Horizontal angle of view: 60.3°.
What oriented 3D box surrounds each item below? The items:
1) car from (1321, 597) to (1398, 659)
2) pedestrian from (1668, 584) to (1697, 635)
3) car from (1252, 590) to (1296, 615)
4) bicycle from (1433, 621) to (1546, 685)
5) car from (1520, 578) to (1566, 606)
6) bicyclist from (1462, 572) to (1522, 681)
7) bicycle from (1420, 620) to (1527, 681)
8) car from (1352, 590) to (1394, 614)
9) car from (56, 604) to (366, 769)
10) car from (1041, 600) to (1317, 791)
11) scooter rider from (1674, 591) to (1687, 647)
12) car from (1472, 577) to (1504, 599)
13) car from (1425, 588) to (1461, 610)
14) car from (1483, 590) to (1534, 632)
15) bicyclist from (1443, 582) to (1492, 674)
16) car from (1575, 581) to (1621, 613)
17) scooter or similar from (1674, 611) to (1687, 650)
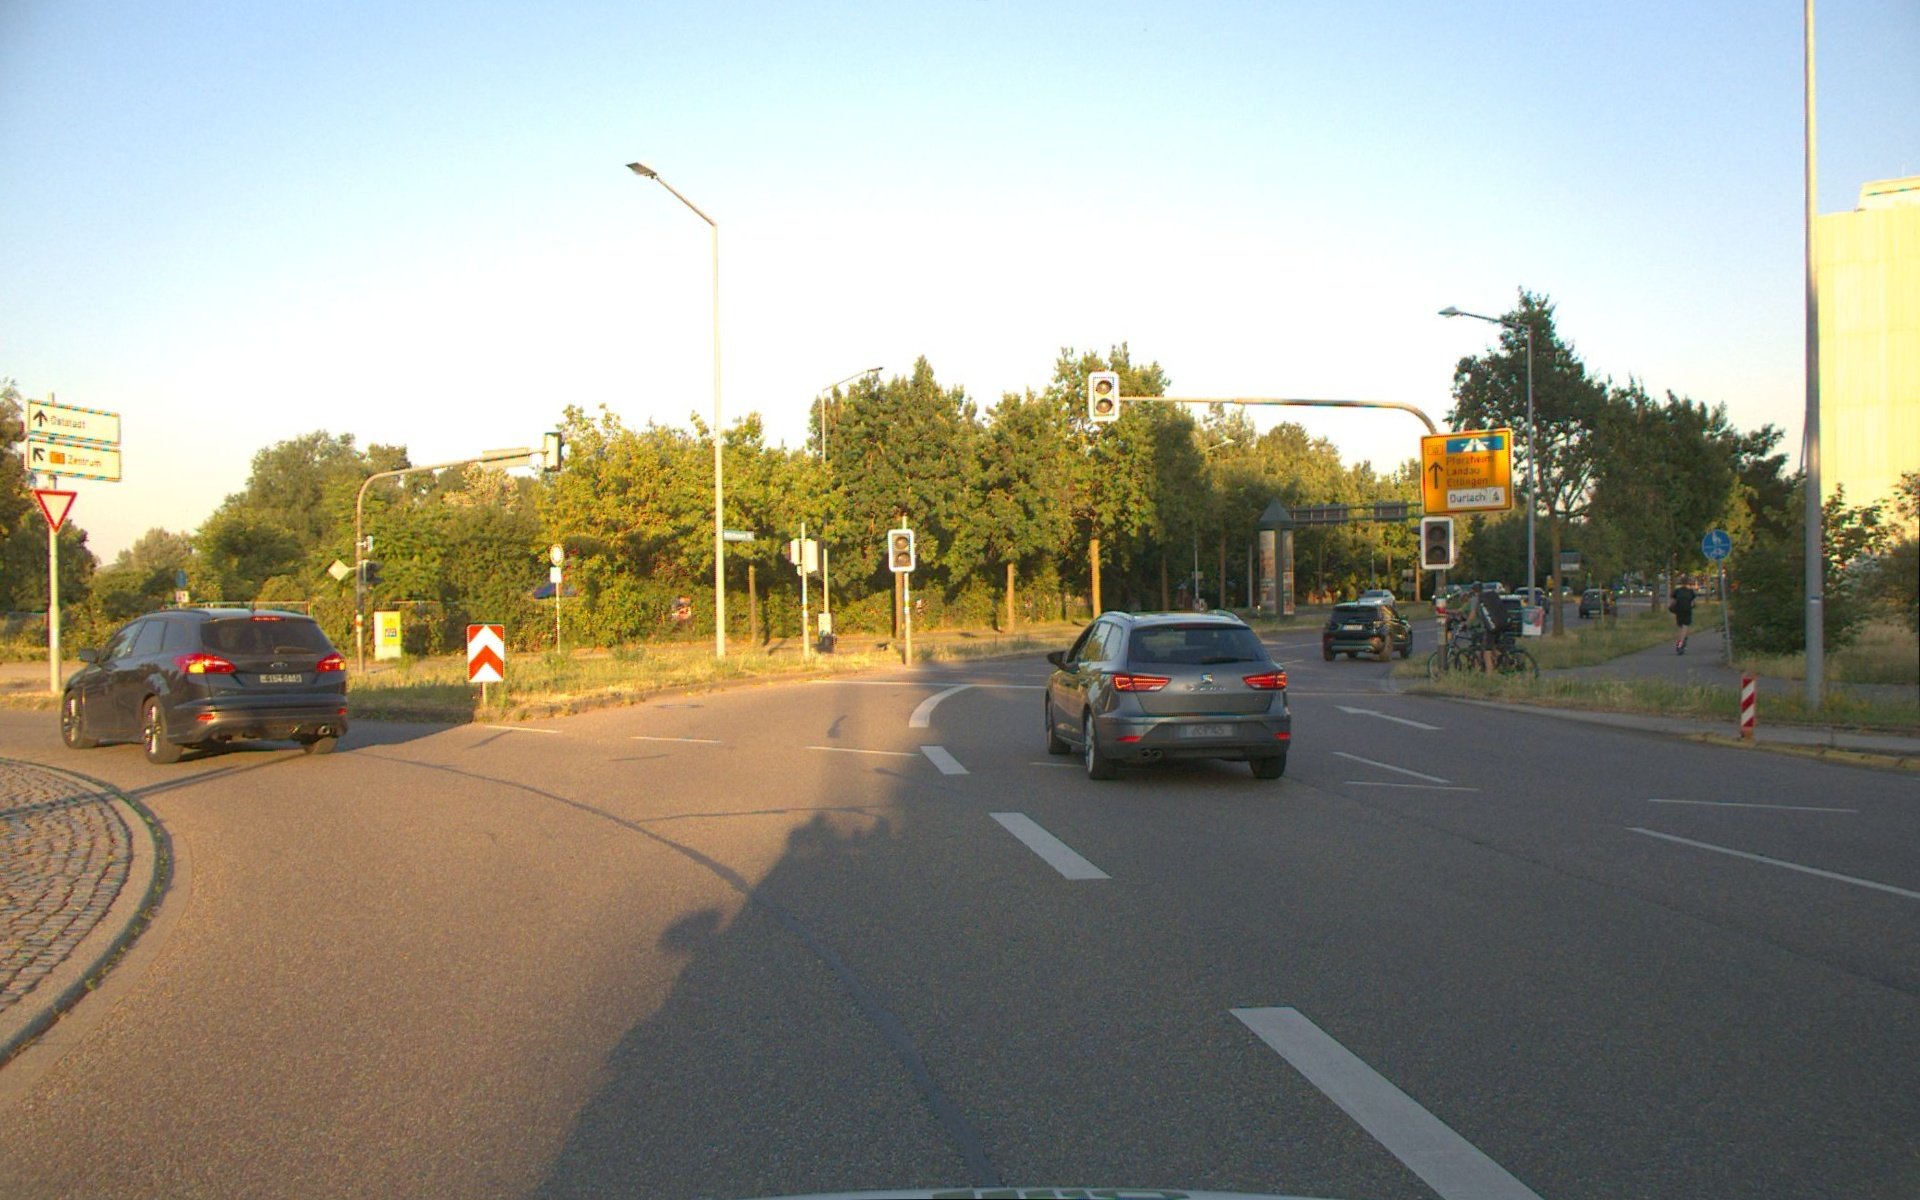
[{"bbox_3d":[10.935,0.720,45.074,1.774,1.551,4.137,-1,1,17],"label":"car"},{"bbox_3d":[22.796,0.295,52.193,0.779,1.577,0.567,-1,0,29],"label":"pedestrian"},{"bbox_3d":[19.193,0.126,100.911,1.520,1.468,3.479,-2,-1,30],"label":"car"},{"bbox_3d":[9.653,0.968,30.196,1.884,1.104,0.456,-3,-1,26],"label":"bicycle"},{"bbox_3d":[32.975,-0.471,93.507,1.954,1.496,3.996,0,1,26],"label":"car"},{"bbox_3d":[9.703,0.483,30.153,0.889,1.931,0.641,-3,-1,26],"label":"bicyclist"},{"bbox_3d":[9.977,0.984,32.134,1.884,1.104,0.456,-4,-1,26],"label":"bicycle"},{"bbox_3d":[27.046,0.115,108.244,1.688,1.474,4.545,0,1,26],"label":"car"},{"bbox_3d":[-7.856,0.792,17.167,1.737,1.492,4.069,0,0,-43],"label":"car"},{"bbox_3d":[1.861,0.760,15.280,1.711,1.449,4.131,-1,1,-4],"label":"car"},{"bbox_3d":[17.903,0.466,41.088,0.259,1.362,0.406,0,0,27],"label":"scooter rider"},{"bbox_3d":[45.310,-0.994,141.923,1.879,1.785,4.916,-2,-1,26],"label":"car"},{"bbox_3d":[37.285,-0.072,127.650,1.763,1.661,4.449,-2,-1,28],"label":"car"},{"bbox_3d":[21.234,0.410,63.990,1.710,1.514,4.135,0,1,21],"label":"car"},{"bbox_3d":[9.884,0.539,32.219,0.752,1.732,0.641,-3,-1,26],"label":"bicyclist"},{"bbox_3d":[33.491,-0.183,86.797,1.868,1.646,3.996,0,1,26],"label":"car"},{"bbox_3d":[17.910,0.753,41.115,0.241,0.930,1.038,0,1,26],"label":"scooter or similar"}]
